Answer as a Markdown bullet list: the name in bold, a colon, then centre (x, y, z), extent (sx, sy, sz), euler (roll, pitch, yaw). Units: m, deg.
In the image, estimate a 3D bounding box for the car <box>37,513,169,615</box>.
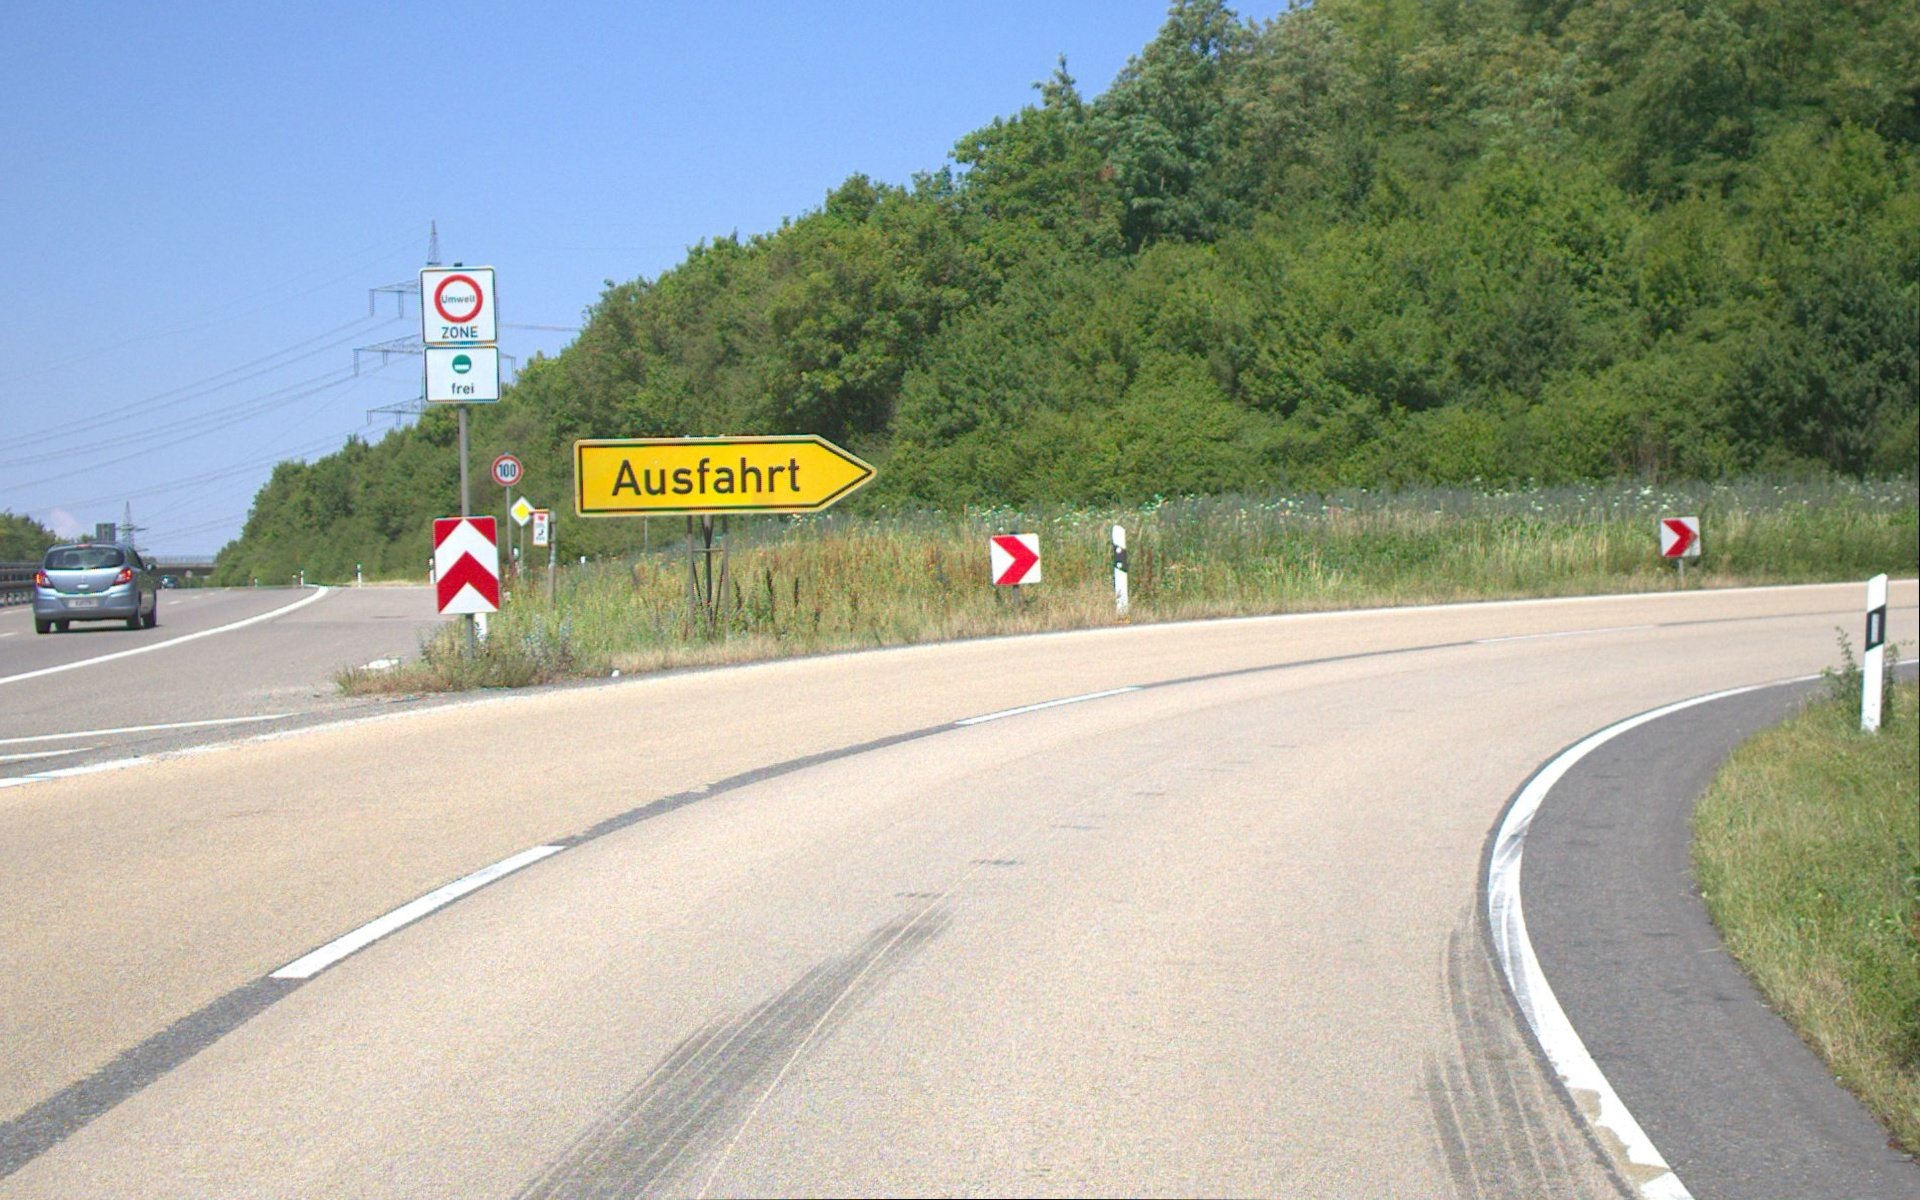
- **car**: centre (-14.182, -0.622, 57.022), extent (1.743, 1.571, 3.381), euler (-2, 2, -8)
